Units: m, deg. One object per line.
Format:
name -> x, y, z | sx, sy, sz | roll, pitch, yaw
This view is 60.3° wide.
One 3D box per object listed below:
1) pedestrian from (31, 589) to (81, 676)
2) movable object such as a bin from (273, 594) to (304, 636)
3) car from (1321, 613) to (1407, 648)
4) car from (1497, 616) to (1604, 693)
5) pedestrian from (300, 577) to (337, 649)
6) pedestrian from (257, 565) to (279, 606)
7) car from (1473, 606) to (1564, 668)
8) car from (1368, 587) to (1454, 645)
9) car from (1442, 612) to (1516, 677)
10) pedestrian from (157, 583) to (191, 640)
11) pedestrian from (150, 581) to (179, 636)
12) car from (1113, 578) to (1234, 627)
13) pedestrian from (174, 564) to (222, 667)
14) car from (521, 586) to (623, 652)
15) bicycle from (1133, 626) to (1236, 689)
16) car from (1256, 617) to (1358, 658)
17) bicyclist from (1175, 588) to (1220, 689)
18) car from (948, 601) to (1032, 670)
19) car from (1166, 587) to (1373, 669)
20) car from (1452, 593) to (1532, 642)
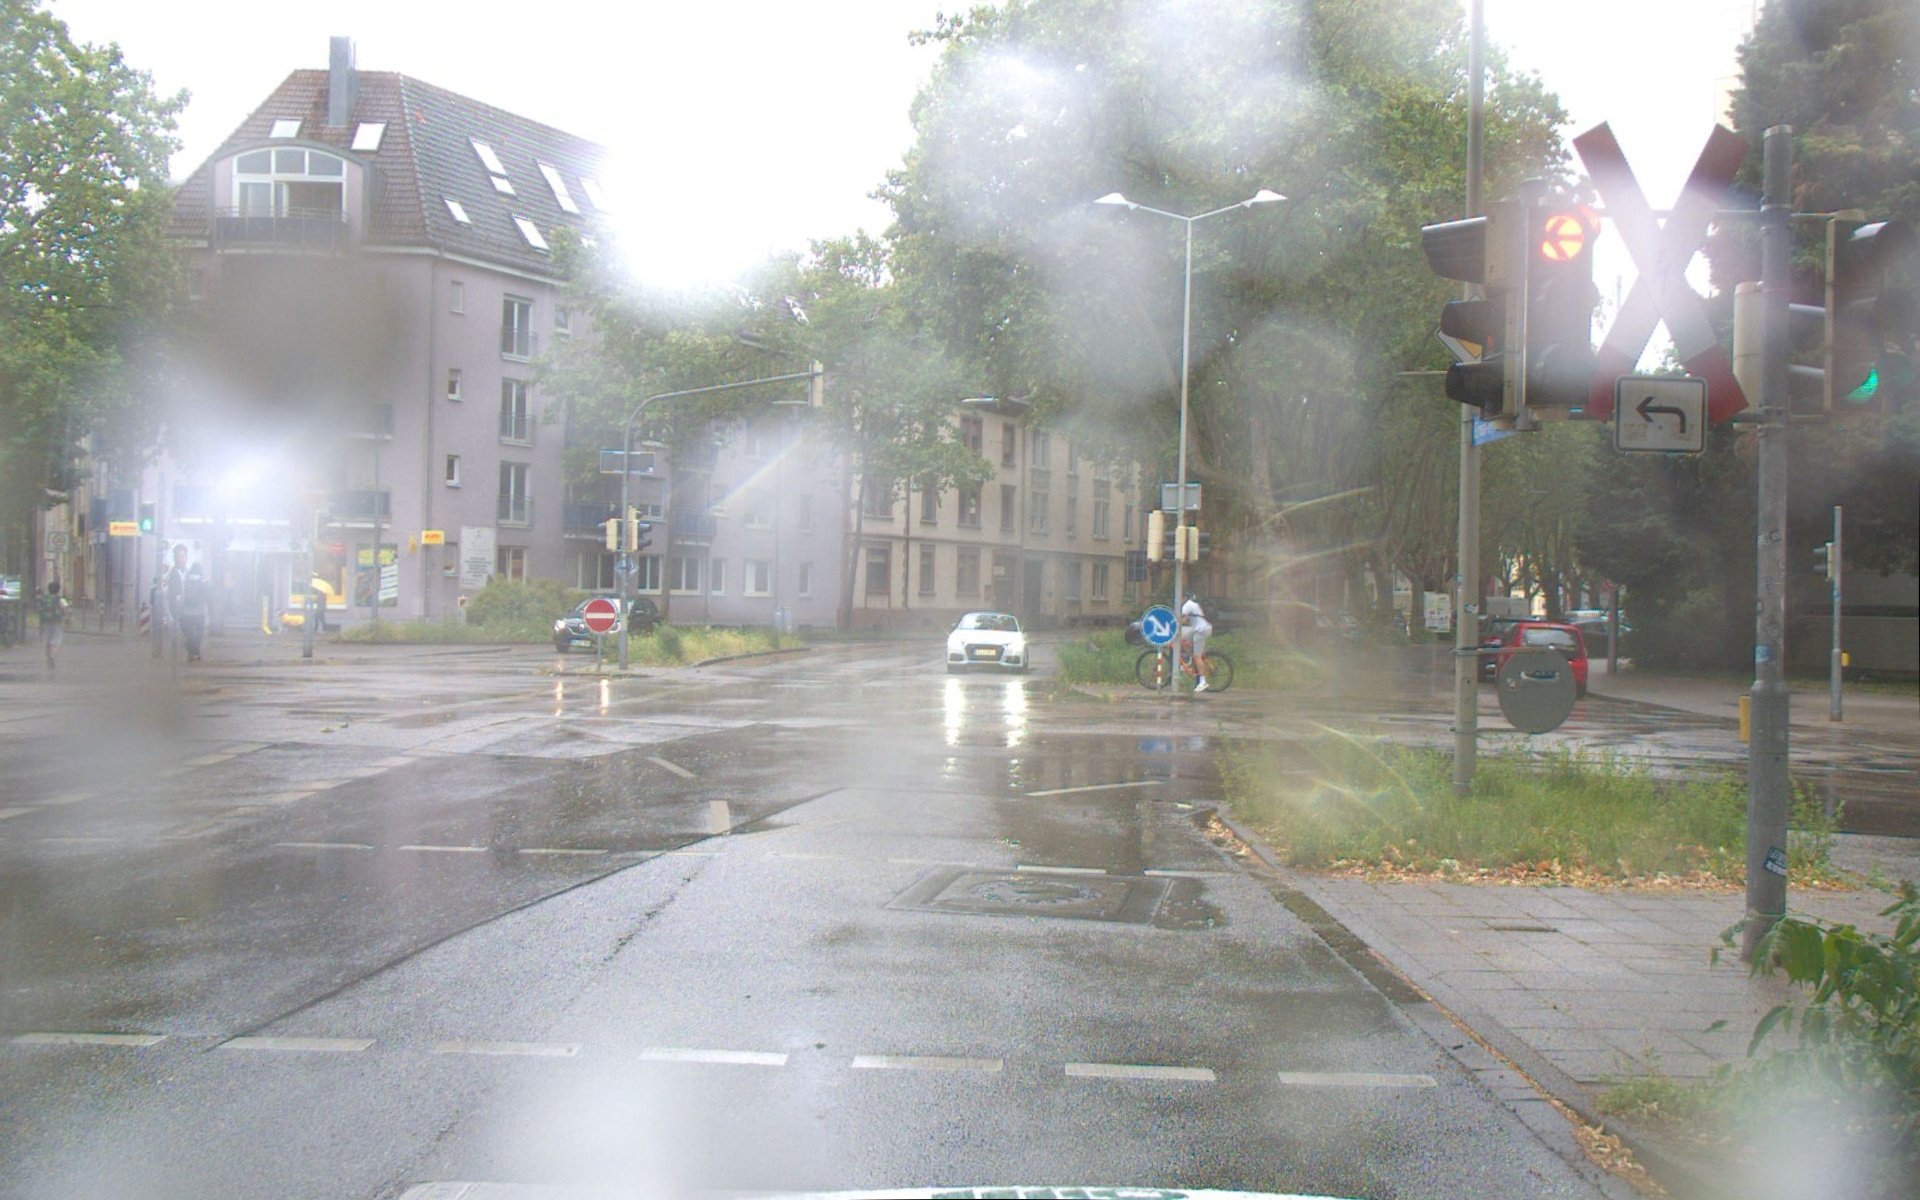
pedestrian -> -15.226, 0.537, 27.845 | 0.643, 1.420, 0.773 | 1, 0, -35
movable object such as a bin -> -20.617, 0.450, 50.788 | 0.737, 1.258, 0.665 | 1, -1, -13
car -> 19.260, 1.440, 78.925 | 3.902, 1.574, 2.002 | 1, 0, 12
car -> 13.050, 1.161, 36.734 | 1.754, 1.524, 4.003 | 1, 0, 13
pedestrian -> -19.780, 0.399, 51.032 | 0.892, 2.188, 0.884 | 1, -1, -12
pedestrian -> -22.685, -0.473, 54.229 | 0.435, 1.353, 0.562 | 1, -1, 2
car -> 13.895, 0.876, 41.304 | 1.745, 1.371, 3.932 | 2, 1, 13
car -> 23.953, 0.846, 88.068 | 2.005, 2.999, 4.742 | 1, 0, -21
car -> 14.988, 1.253, 47.908 | 1.745, 1.757, 4.003 | 1, 0, 13
pedestrian -> -22.120, 0.322, 46.530 | 0.743, 1.560, 0.783 | 1, -1, -33
pedestrian -> -23.886, 0.241, 49.640 | 0.667, 1.628, 0.957 | 1, -1, -32
car -> 6.999, 0.092, 54.037 | 3.784, 1.512, 1.717 | 1, 0, 12
pedestrian -> -14.251, 0.289, 30.942 | 0.777, 1.888, 0.676 | 1, 0, -25
car -> -9.627, 0.445, 41.344 | 1.716, 1.538, 3.838 | 1, 0, -2
bicycle -> 4.122, 1.050, 30.442 | 1.833, 1.100, 0.657 | 1, 0, 7
car -> 13.756, 1.467, 65.656 | 3.902, 1.512, 2.002 | 1, 0, 12
bicyclist -> 4.361, 0.695, 30.418 | 0.778, 1.817, 0.697 | 1, -1, 7
car -> 0.751, 0.798, 39.130 | 1.845, 1.461, 4.001 | 1, 0, 2
car -> 6.140, 0.532, 32.822 | 3.902, 1.512, 2.002 | 1, 0, 12
car -> 33.669, 1.083, 104.811 | 1.974, 2.999, 4.720 | 1, 0, -31
